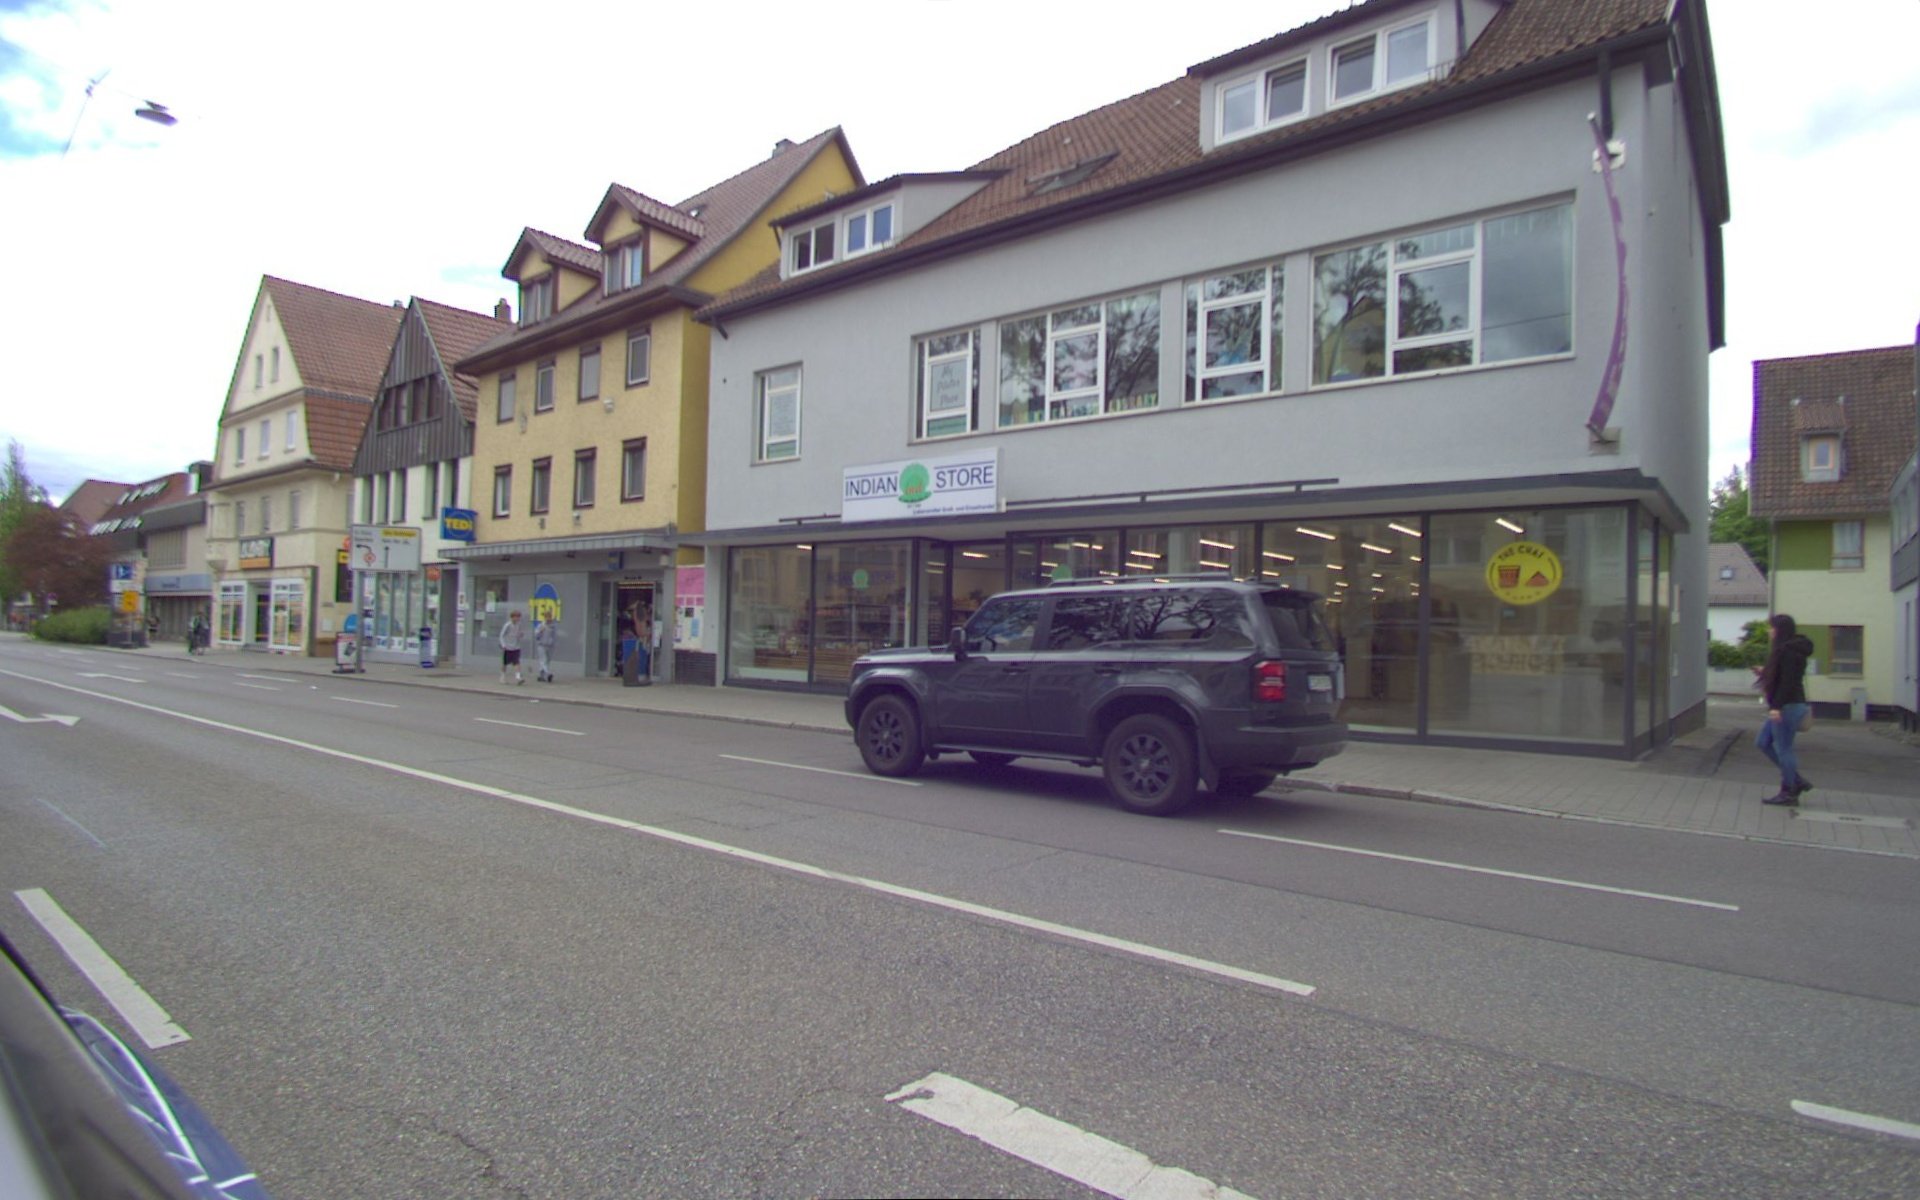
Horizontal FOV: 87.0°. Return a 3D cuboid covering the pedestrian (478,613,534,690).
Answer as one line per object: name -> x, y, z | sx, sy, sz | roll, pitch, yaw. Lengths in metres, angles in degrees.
pedestrian -> -10.267, 1.151, 22.878 | 0.920, 1.674, 0.801 | -1, -3, 41

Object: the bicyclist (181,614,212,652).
bicyclist -> -29.799, 1.286, 39.505 | 0.751, 1.434, 0.763 | -1, -3, 39

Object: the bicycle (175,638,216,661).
bicycle -> -29.810, 1.921, 39.471 | 2.238, 0.829, 0.763 | -1, -3, 40

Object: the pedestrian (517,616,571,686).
pedestrian -> -9.671, 1.174, 23.533 | 0.920, 1.595, 0.801 | -1, -3, 41

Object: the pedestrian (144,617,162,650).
pedestrian -> -47.627, 1.962, 59.706 | 0.678, 1.917, 0.665 | -1, -3, 40

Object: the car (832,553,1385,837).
car -> 1.169, 0.746, 9.368 | 4.765, 1.984, 1.904 | -1, -4, 40

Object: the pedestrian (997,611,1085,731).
pedestrian -> 1.198, 1.013, 14.882 | 0.871, 1.679, 0.988 | -1, -2, 41

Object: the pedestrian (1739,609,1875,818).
pedestrian -> 7.466, 0.953, 8.933 | 0.870, 1.711, 0.795 | -1, -3, 42
